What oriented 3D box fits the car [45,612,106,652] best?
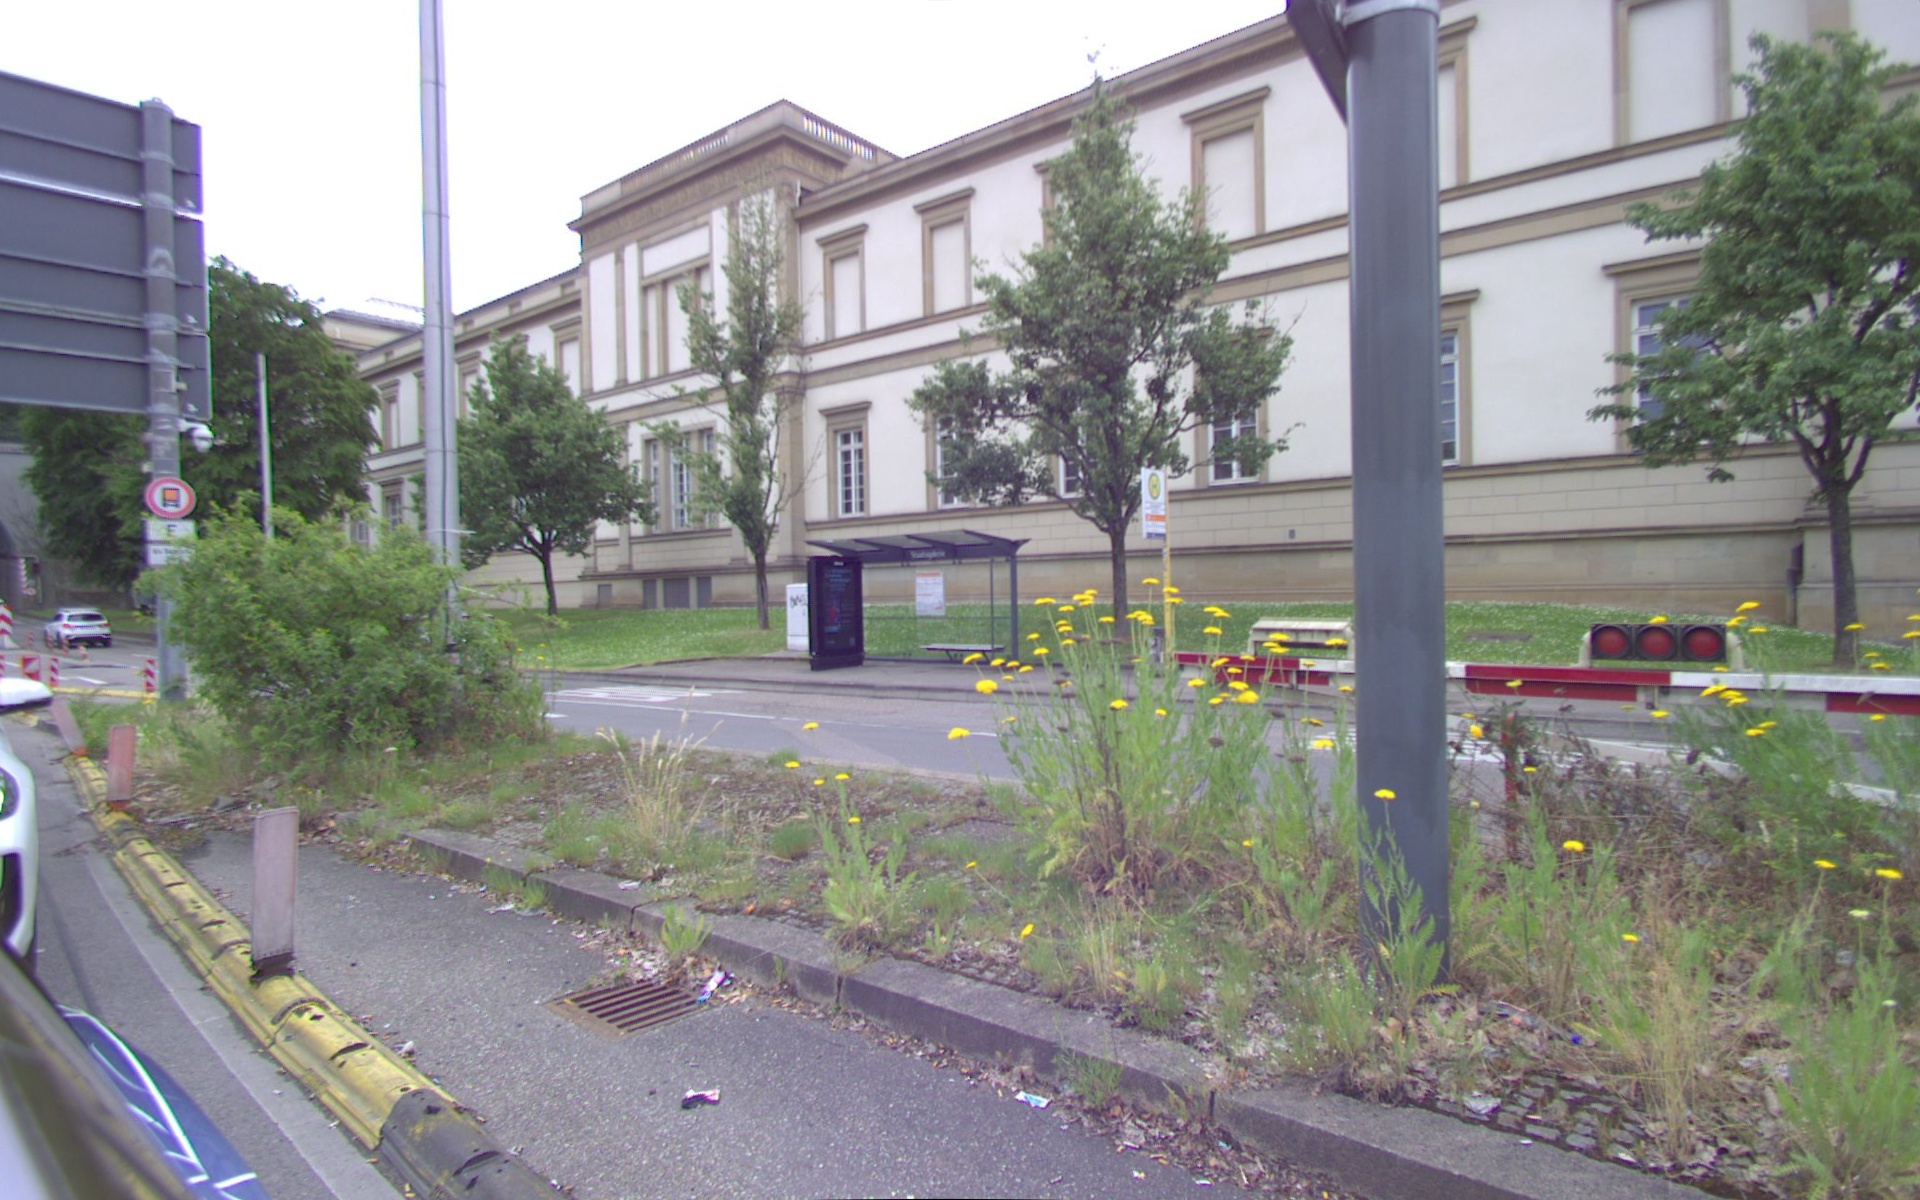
[{"bbox_3d":[-38.917,1.403,44.506,1.876,1.637,4.111,-1,-1,-43],"label":"car"}]

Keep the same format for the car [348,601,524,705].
[{"bbox_3d":[-10.064,0.919,19.311,4.001,1.759,1.811,-1,0,44],"label":"car"}]

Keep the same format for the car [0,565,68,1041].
[{"bbox_3d":[-5.207,0.722,4.080,3.668,1.637,1.962,-1,0,41],"label":"car"}]

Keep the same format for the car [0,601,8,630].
[{"bbox_3d":[-57.914,0.930,59.840,4.265,1.704,1.851,-1,0,40],"label":"car"}]
